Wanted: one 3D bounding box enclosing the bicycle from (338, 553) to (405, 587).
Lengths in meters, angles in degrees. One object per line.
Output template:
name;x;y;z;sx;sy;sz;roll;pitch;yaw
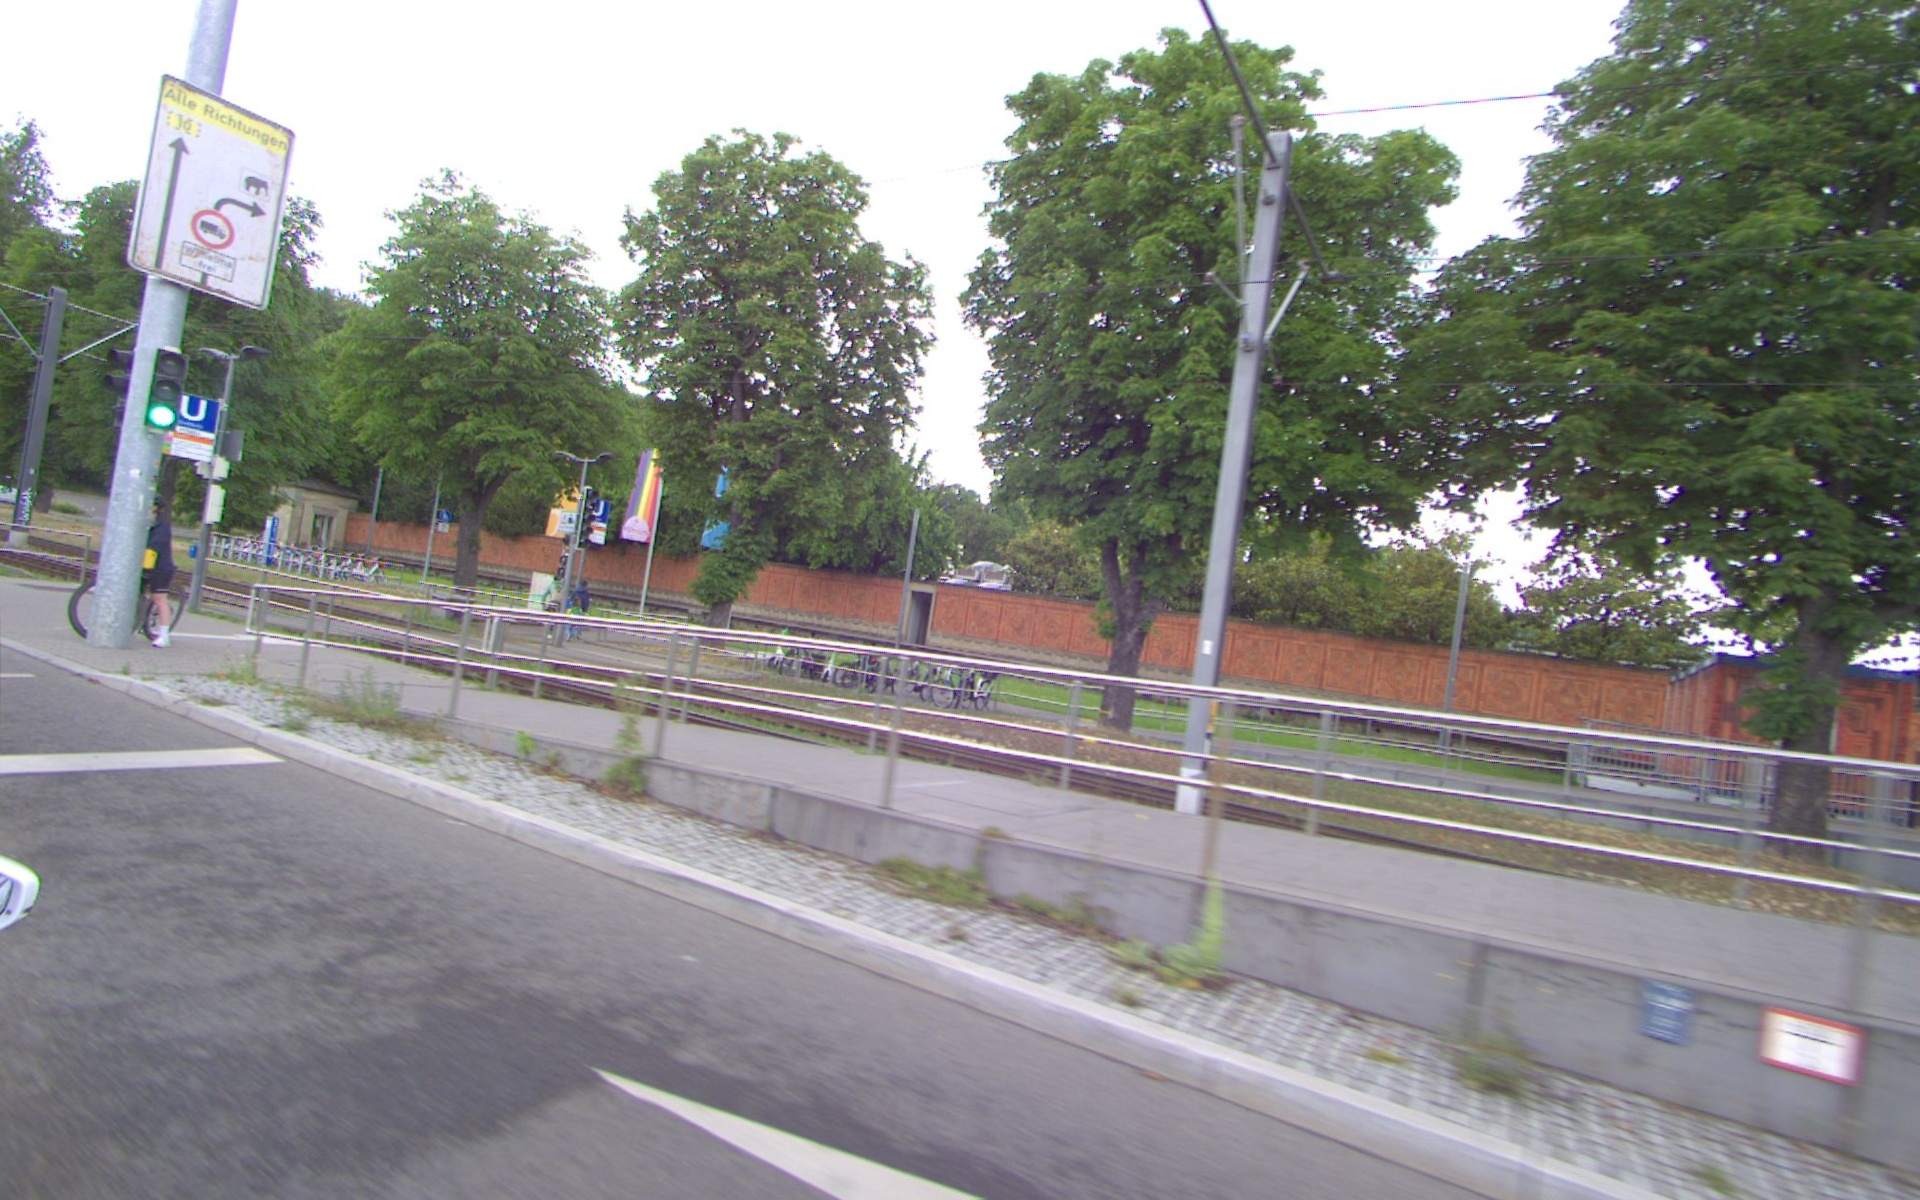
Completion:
bicycle;-20.615;-1.032;35.260;0.522;0.906;1.916;8;-2;32

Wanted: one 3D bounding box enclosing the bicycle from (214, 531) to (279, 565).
bicycle;-27.556;-2.012;38.877;0.522;0.986;1.916;8;-2;32

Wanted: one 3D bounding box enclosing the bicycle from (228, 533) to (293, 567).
bicycle;-26.864;-1.923;38.648;0.522;0.986;1.916;8;-2;32

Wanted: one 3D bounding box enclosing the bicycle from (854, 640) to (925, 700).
bicycle;-1.631;1.648;23.521;0.524;1.150;1.880;7;-5;32

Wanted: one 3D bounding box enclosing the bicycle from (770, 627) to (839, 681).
bicycle;-3.752;1.329;24.443;0.475;1.044;1.770;7;-5;32

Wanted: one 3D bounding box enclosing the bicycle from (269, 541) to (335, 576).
bicycle;-24.284;-1.536;37.161;0.522;0.986;1.916;8;-2;32

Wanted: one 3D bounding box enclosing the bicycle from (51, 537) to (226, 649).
bicycle;-9.239;-0.058;11.411;0.610;1.086;1.682;10;-2;-8

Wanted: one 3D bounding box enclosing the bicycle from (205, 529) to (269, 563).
bicycle;-28.333;-2.100;39.448;0.522;0.986;1.916;8;-2;32

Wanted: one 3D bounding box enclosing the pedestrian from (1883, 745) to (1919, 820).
pedestrian;20.951;4.053;22.354;0.452;1.551;0.486;7;-4;34

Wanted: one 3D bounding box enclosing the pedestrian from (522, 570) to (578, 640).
pedestrian;-10.204;0.137;25.046;0.763;1.628;0.836;8;-1;9

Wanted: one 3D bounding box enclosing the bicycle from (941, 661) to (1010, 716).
bicycle;0.365;1.967;22.079;0.524;0.973;1.880;7;-5;32

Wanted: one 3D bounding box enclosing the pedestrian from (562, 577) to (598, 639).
pedestrian;-9.882;0.215;26.171;0.506;1.519;0.498;8;-1;9

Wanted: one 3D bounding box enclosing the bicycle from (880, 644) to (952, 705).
bicycle;-0.965;1.705;22.810;0.524;1.150;1.880;7;-5;32

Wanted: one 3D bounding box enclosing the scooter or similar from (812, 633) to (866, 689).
scooter or similar;-2.875;1.470;24.007;0.328;1.150;1.277;7;-5;38

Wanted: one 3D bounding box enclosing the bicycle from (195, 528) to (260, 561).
bicycle;-29.080;-2.188;39.963;0.522;0.986;1.916;8;-2;32

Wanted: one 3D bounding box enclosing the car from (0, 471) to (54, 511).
car;-62.052;-7.303;64.550;2.167;2.035;5.159;8;-4;22

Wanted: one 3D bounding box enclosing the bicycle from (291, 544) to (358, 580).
bicycle;-22.996;-1.364;36.418;0.522;0.986;1.916;8;-2;32

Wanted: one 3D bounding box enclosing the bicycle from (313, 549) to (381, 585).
bicycle;-21.676;-1.148;35.613;0.522;0.986;1.916;8;-2;32

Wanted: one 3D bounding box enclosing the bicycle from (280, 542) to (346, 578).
bicycle;-23.629;-1.442;36.770;0.522;0.986;1.916;8;-2;32

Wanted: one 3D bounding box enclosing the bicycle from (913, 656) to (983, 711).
bicycle;-0.248;1.879;22.436;0.524;0.973;1.880;7;-5;32

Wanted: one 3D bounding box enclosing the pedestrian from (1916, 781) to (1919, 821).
pedestrian;21.243;4.089;21.885;0.452;1.502;0.486;7;-4;34

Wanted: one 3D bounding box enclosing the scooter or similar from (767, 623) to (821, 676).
scooter or similar;-4.217;1.274;25.635;1.157;1.151;0.330;12;-5;-35

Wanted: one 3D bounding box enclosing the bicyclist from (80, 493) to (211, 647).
bicyclist;-9.191;-0.319;11.383;0.608;1.590;0.805;10;-1;-8

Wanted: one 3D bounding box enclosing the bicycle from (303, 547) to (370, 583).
bicycle;-22.239;-1.222;35.904;0.522;0.986;1.916;8;-2;32

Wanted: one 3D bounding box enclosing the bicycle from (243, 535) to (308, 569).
bicycle;-26.089;-1.819;38.393;0.522;0.986;1.916;8;-2;32
